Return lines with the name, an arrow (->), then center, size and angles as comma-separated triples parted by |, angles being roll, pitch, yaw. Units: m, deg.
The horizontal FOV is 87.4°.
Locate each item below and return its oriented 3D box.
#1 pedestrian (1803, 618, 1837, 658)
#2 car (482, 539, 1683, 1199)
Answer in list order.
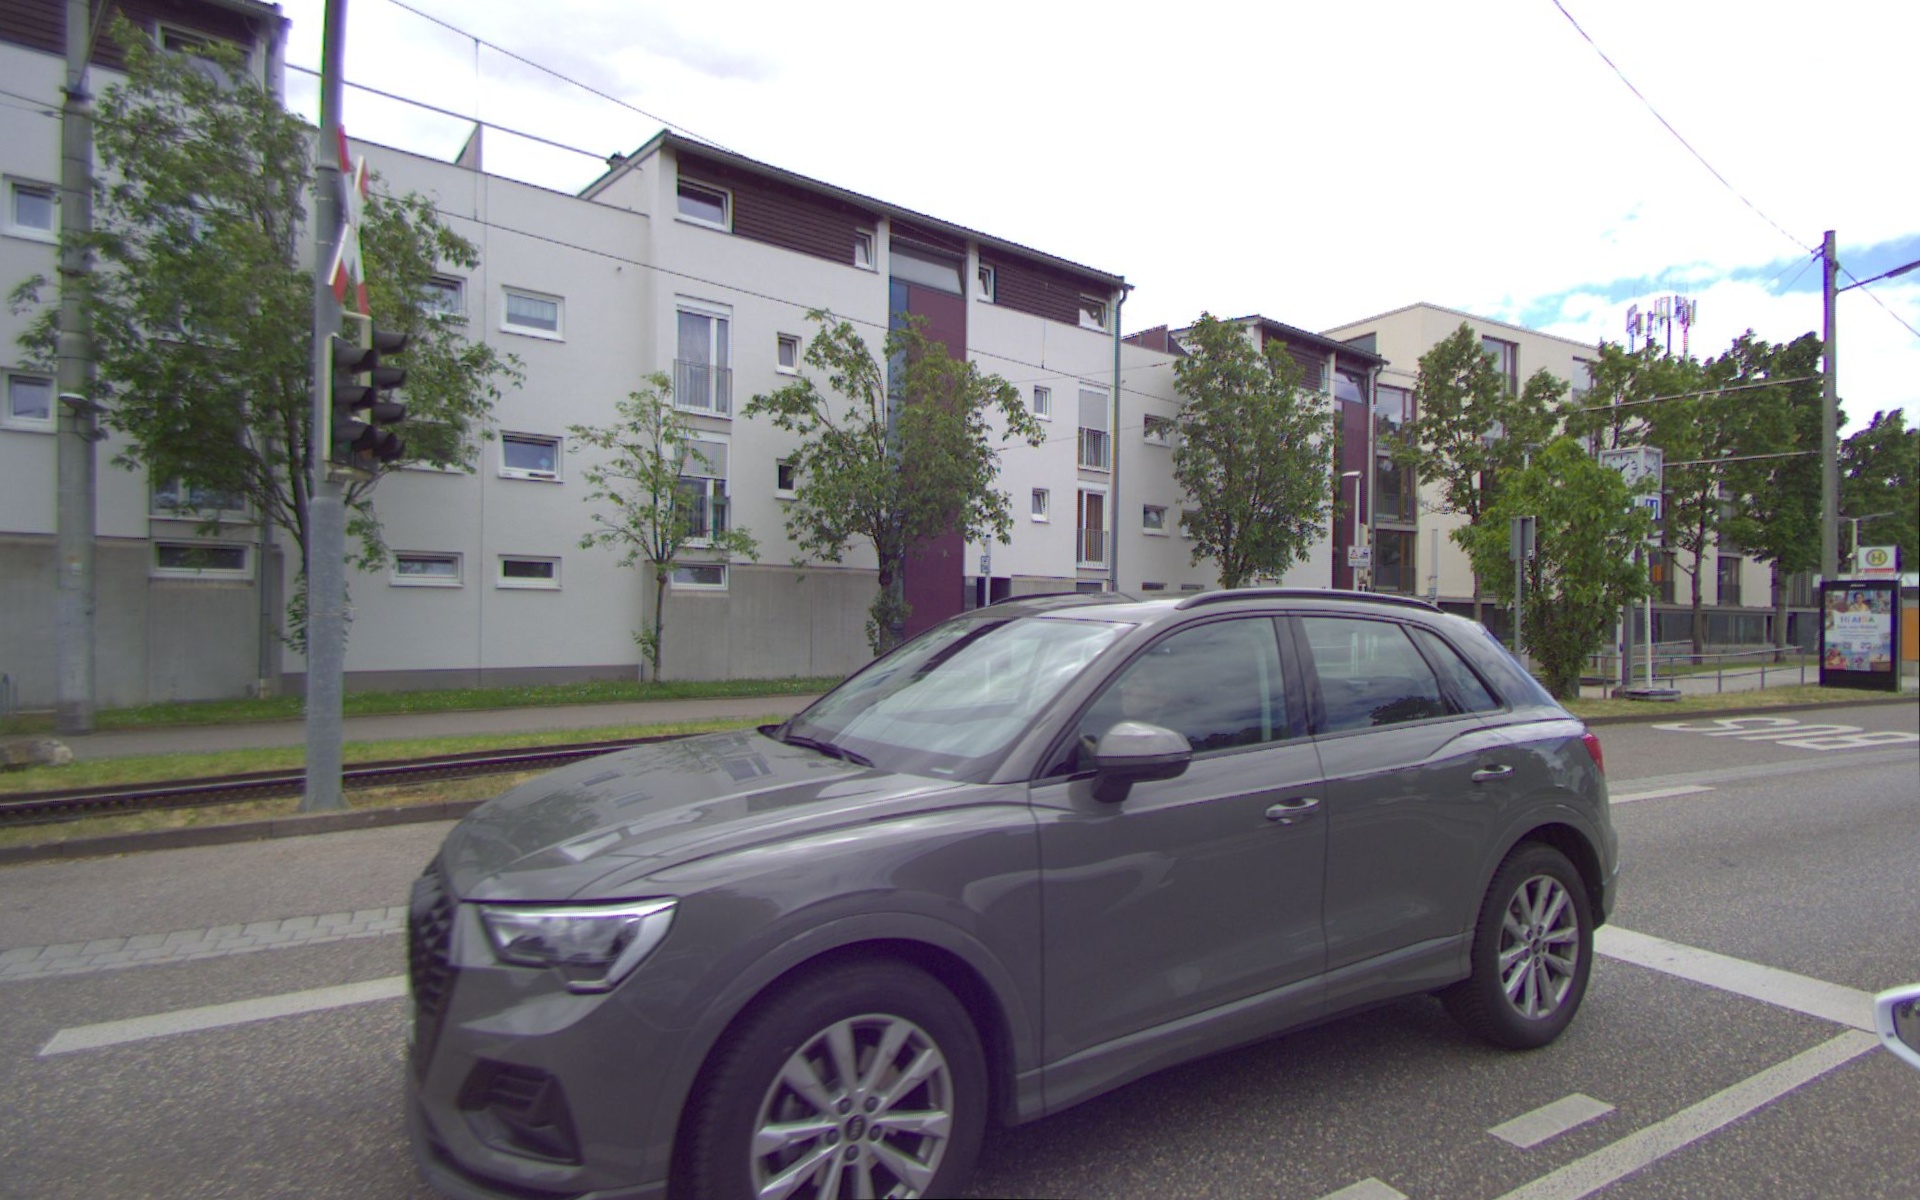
pedestrian -> 38.949, 1.708, 45.495 | 0.896, 1.742, 0.915 | 1, 0, -30
car -> 0.629, 0.741, 3.641 | 4.134, 1.580, 1.731 | 2, -2, -30
